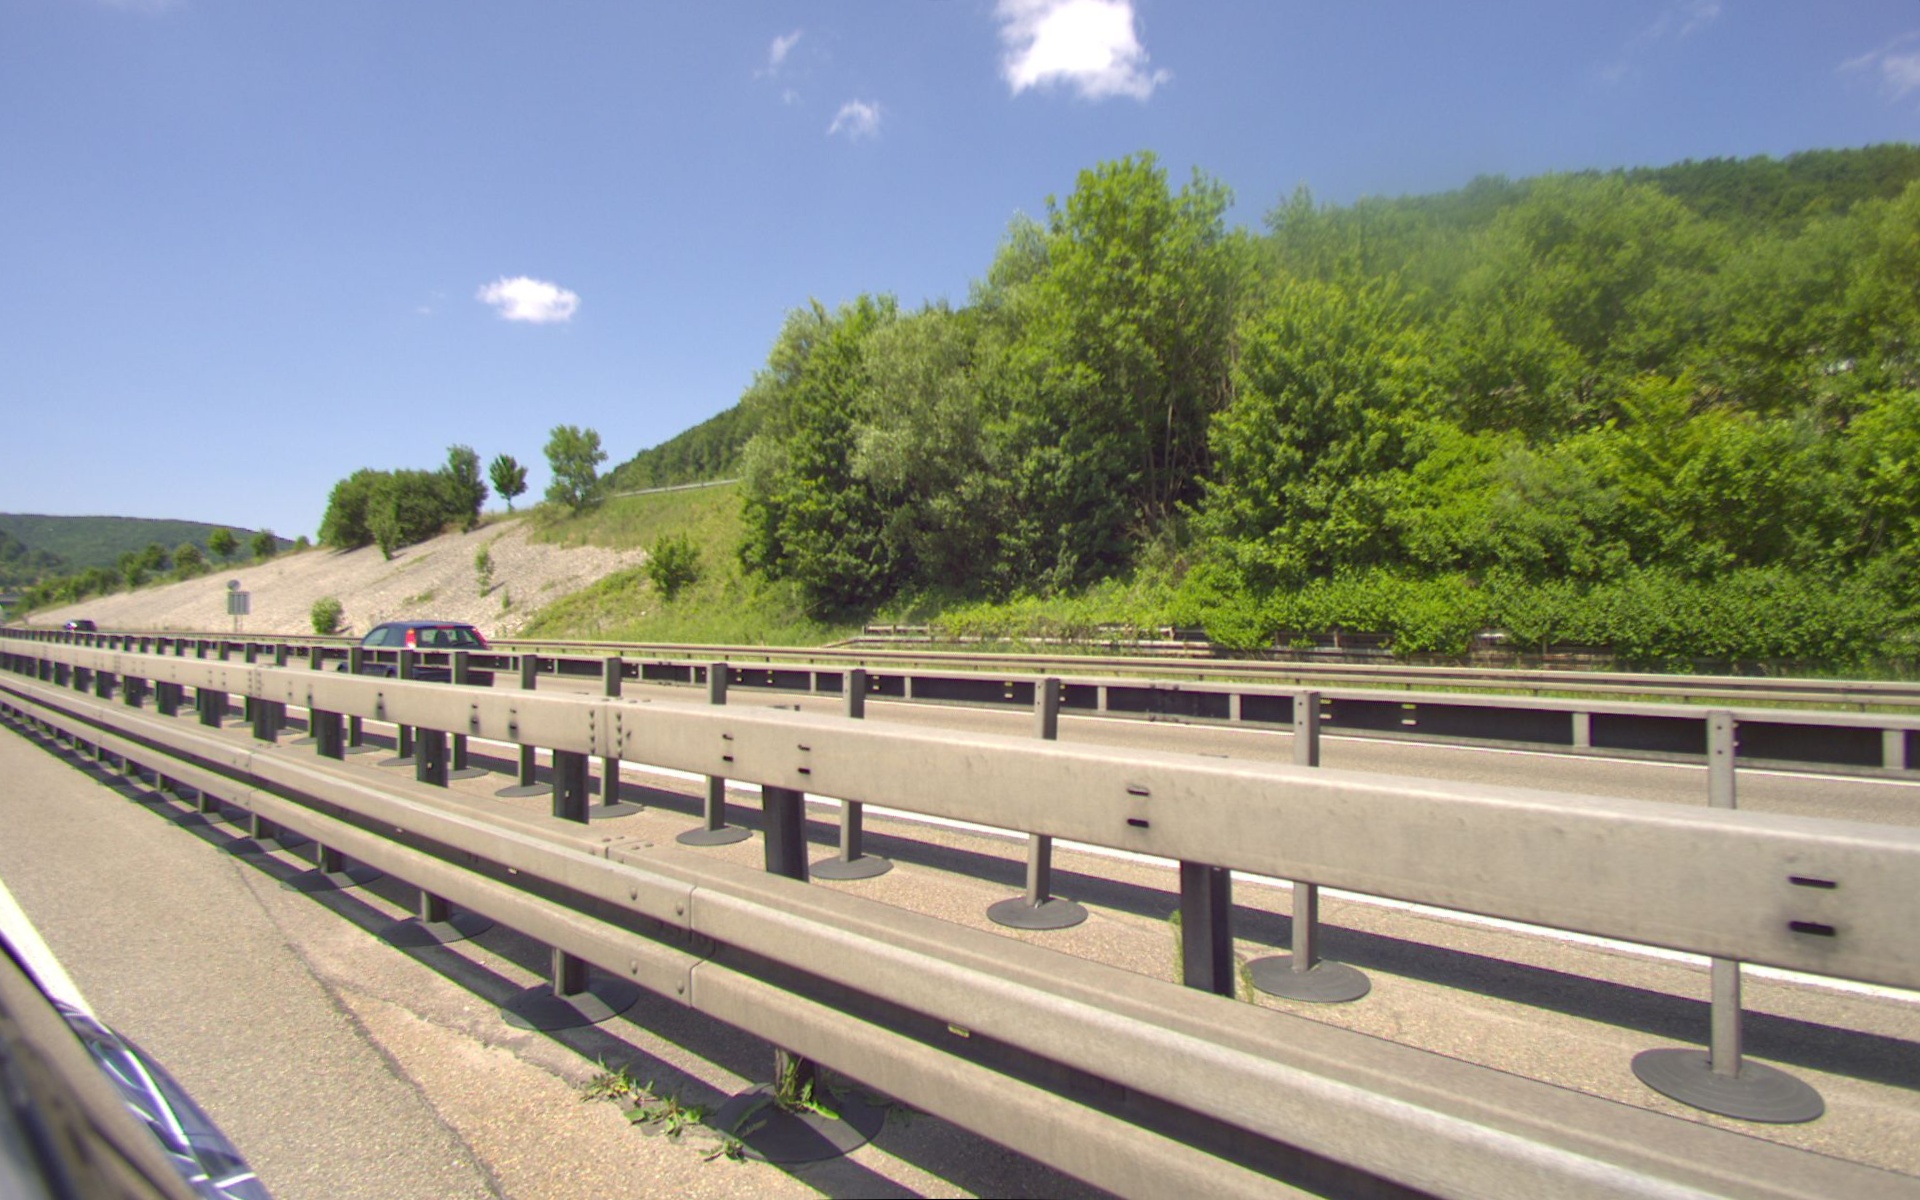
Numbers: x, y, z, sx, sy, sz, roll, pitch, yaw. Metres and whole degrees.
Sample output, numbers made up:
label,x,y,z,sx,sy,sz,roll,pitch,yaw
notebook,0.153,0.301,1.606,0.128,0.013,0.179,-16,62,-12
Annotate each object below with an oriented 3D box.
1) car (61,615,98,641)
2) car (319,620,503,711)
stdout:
label,x,y,z,sx,sy,sz,roll,pitch,yaw
car,-71.113,2.220,81.700,4.002,2.029,1.971,-1,-2,45
car,-10.163,1.125,18.627,3.997,1.445,1.650,-1,0,40
